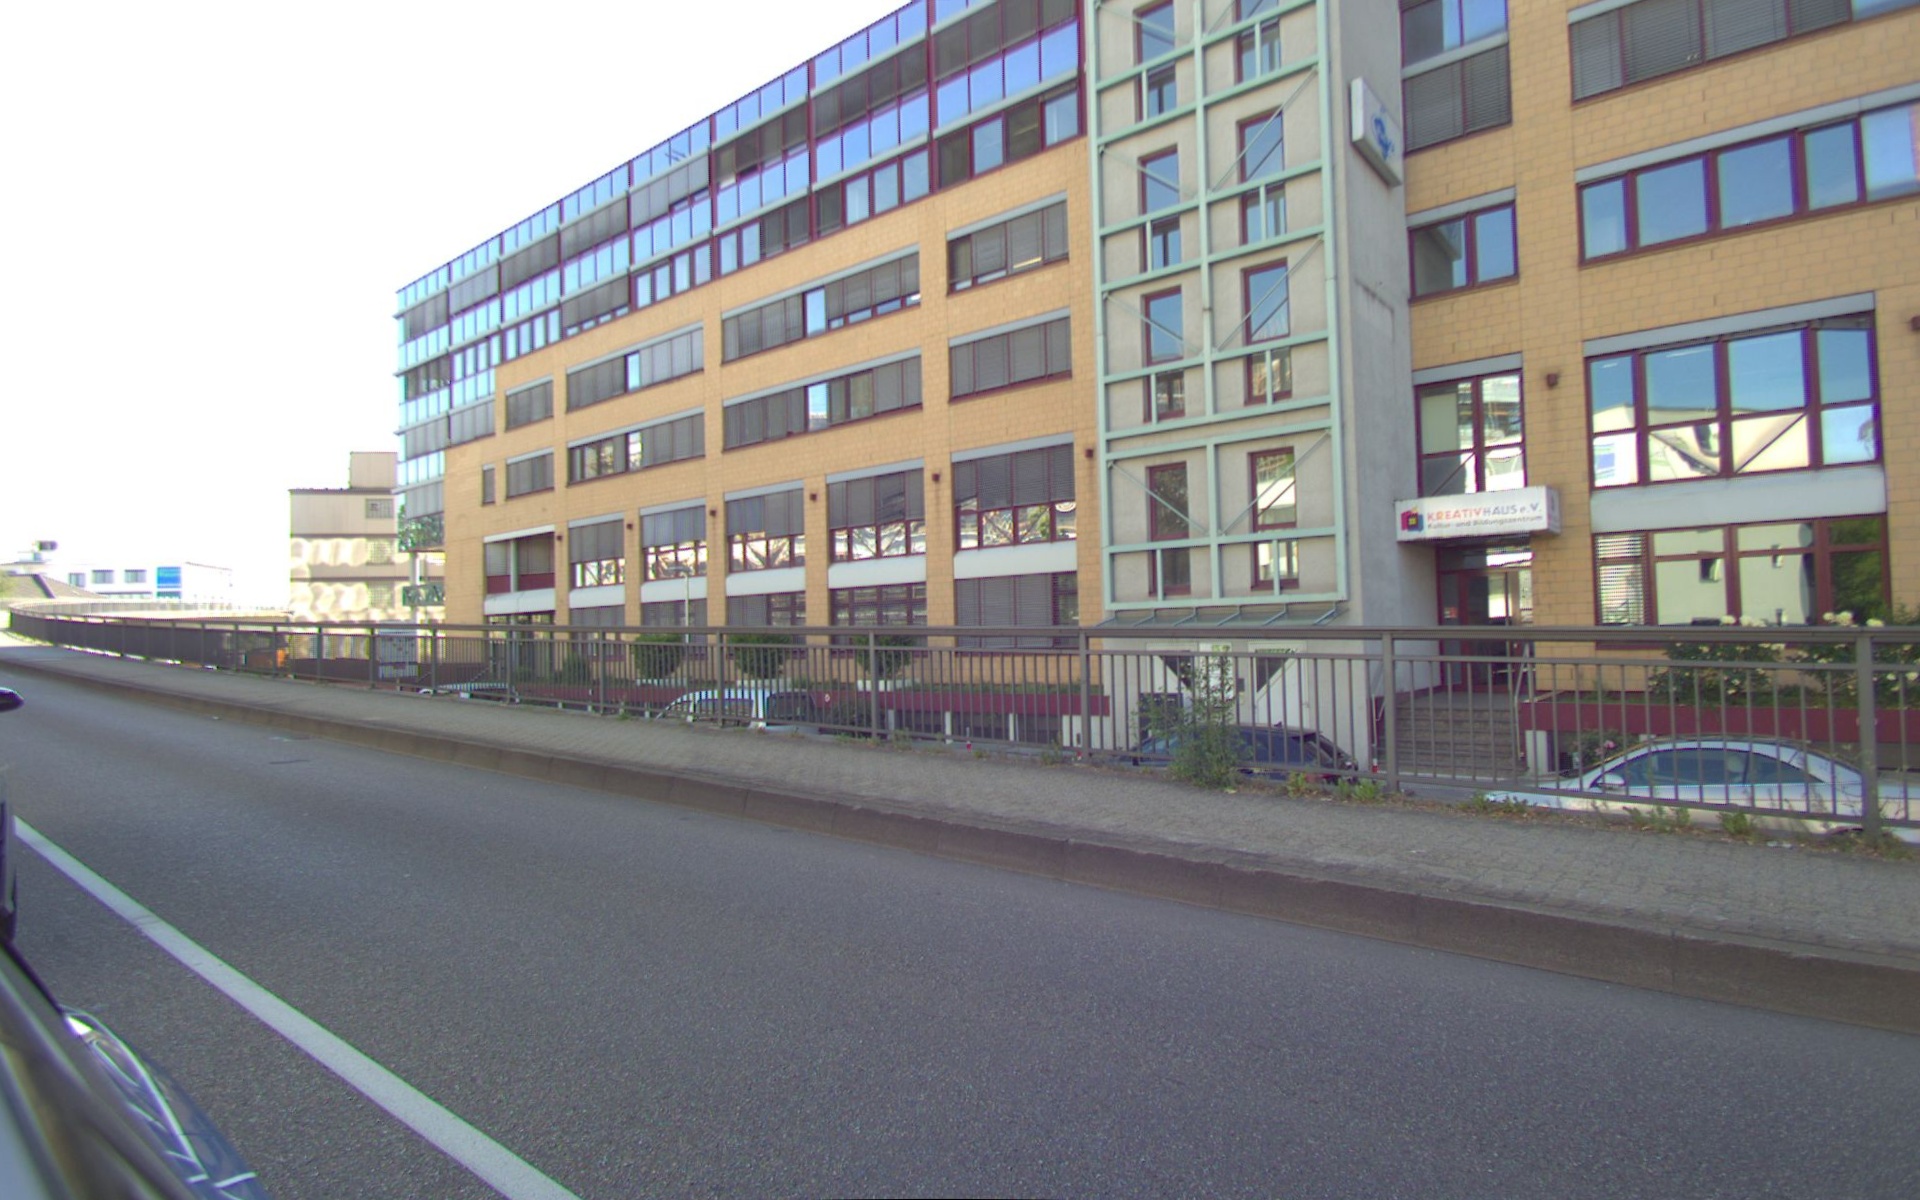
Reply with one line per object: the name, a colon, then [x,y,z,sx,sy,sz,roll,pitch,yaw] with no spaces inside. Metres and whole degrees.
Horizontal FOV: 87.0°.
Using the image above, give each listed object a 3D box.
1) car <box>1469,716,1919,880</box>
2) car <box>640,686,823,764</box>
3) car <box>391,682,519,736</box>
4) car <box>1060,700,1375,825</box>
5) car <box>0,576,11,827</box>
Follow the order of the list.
car: [7.679,1.882,10.215,4.254,1.175,1.704,-3,-4,40]
car: [-4.601,2.421,20.135,3.805,1.279,1.560,-3,-4,40]
car: [-13.827,2.923,27.634,3.805,1.279,1.744,-3,-4,40]
car: [3.364,2.065,13.604,3.805,1.279,1.560,-3,-4,40]
car: [-5.851,0.778,4.667,3.998,1.660,1.726,-3,-4,41]
